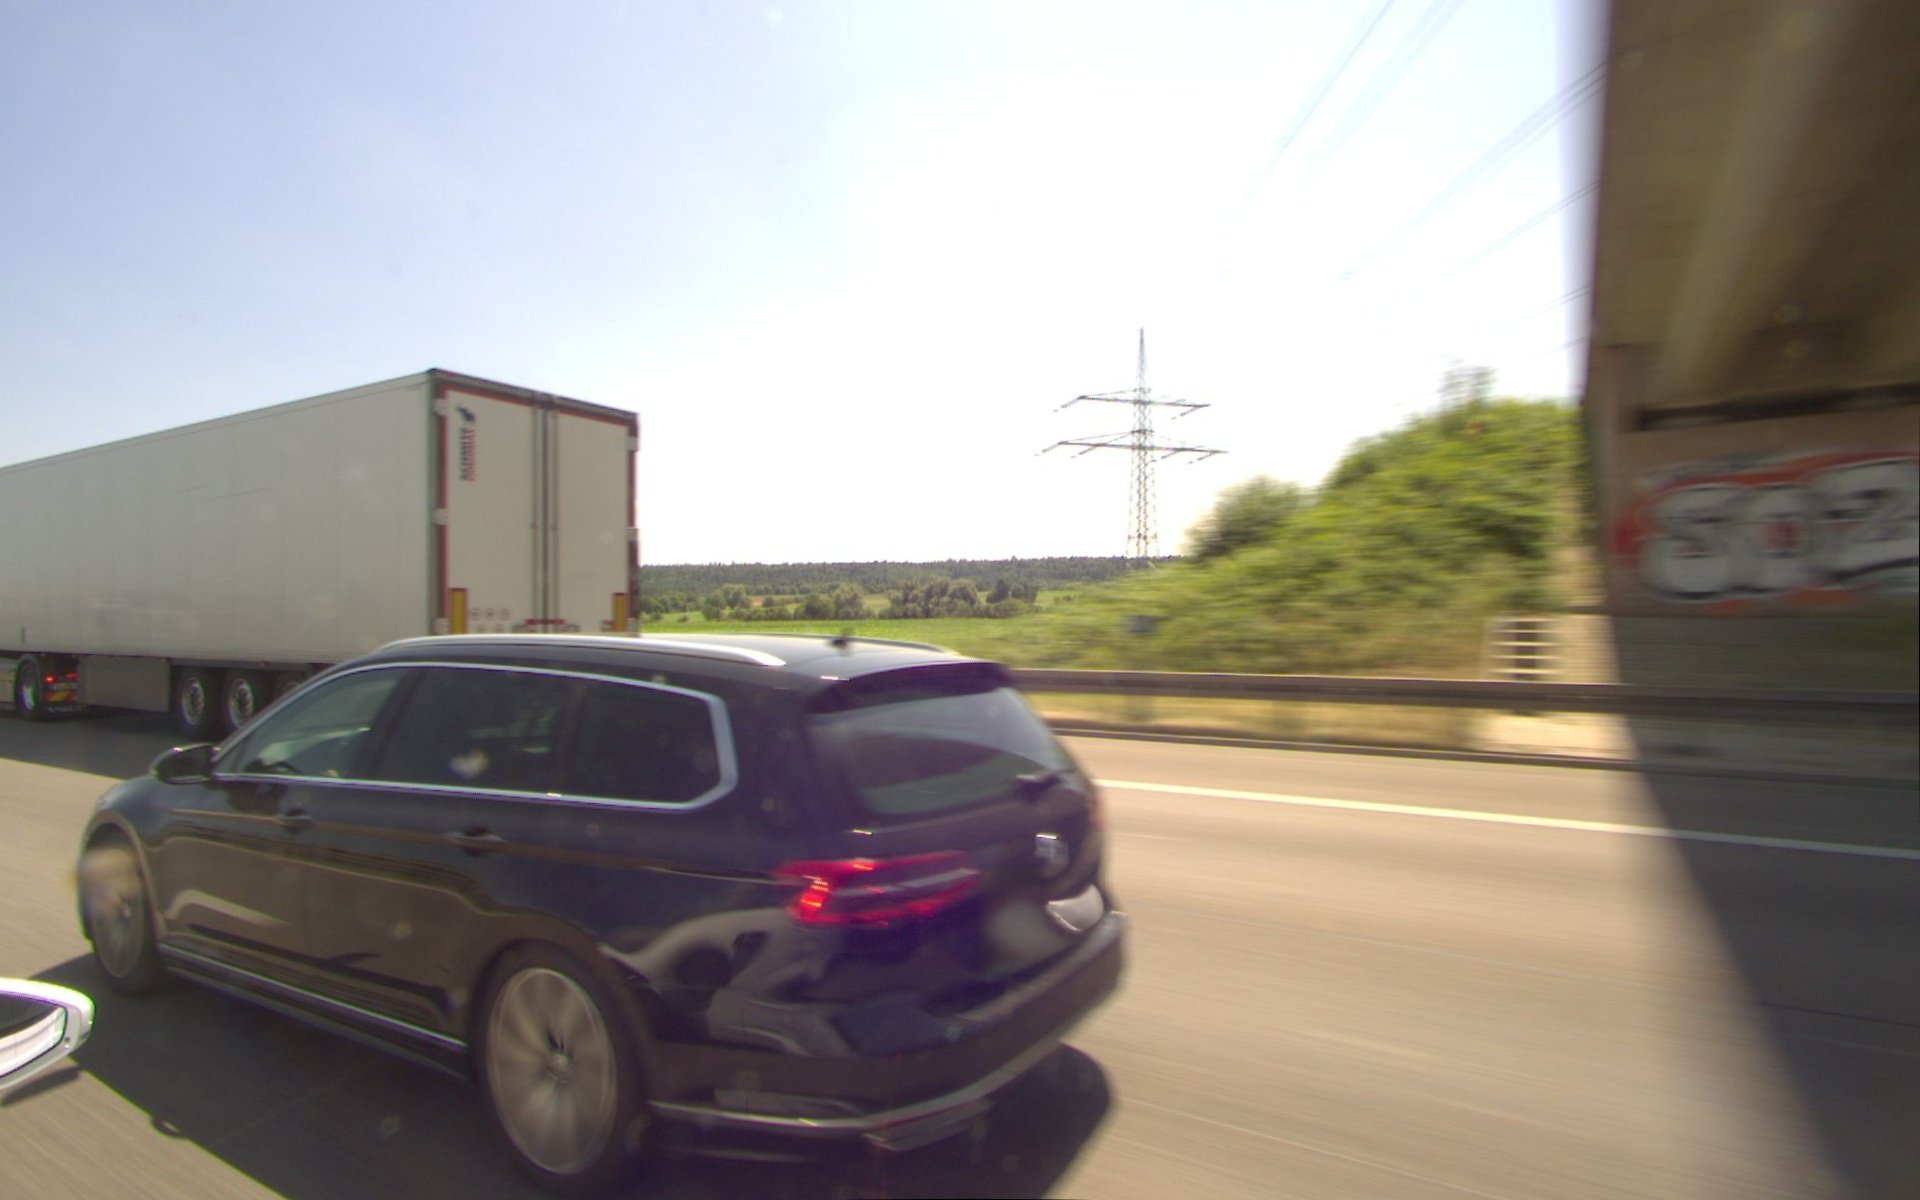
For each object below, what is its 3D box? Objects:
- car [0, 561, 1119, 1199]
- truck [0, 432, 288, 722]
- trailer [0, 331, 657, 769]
[{"bbox_3d":[-1.961,0.759,4.238,4.863,1.594,1.930,-1,-1,32],"label":"car"},{"bbox_3d":[-15.597,-0.270,18.068,7.577,4.282,2.974,0,-1,32],"label":"truck"},{"bbox_3d":[-10.129,-0.388,14.577,13.402,4.252,2.938,-1,-1,33],"label":"trailer"}]
